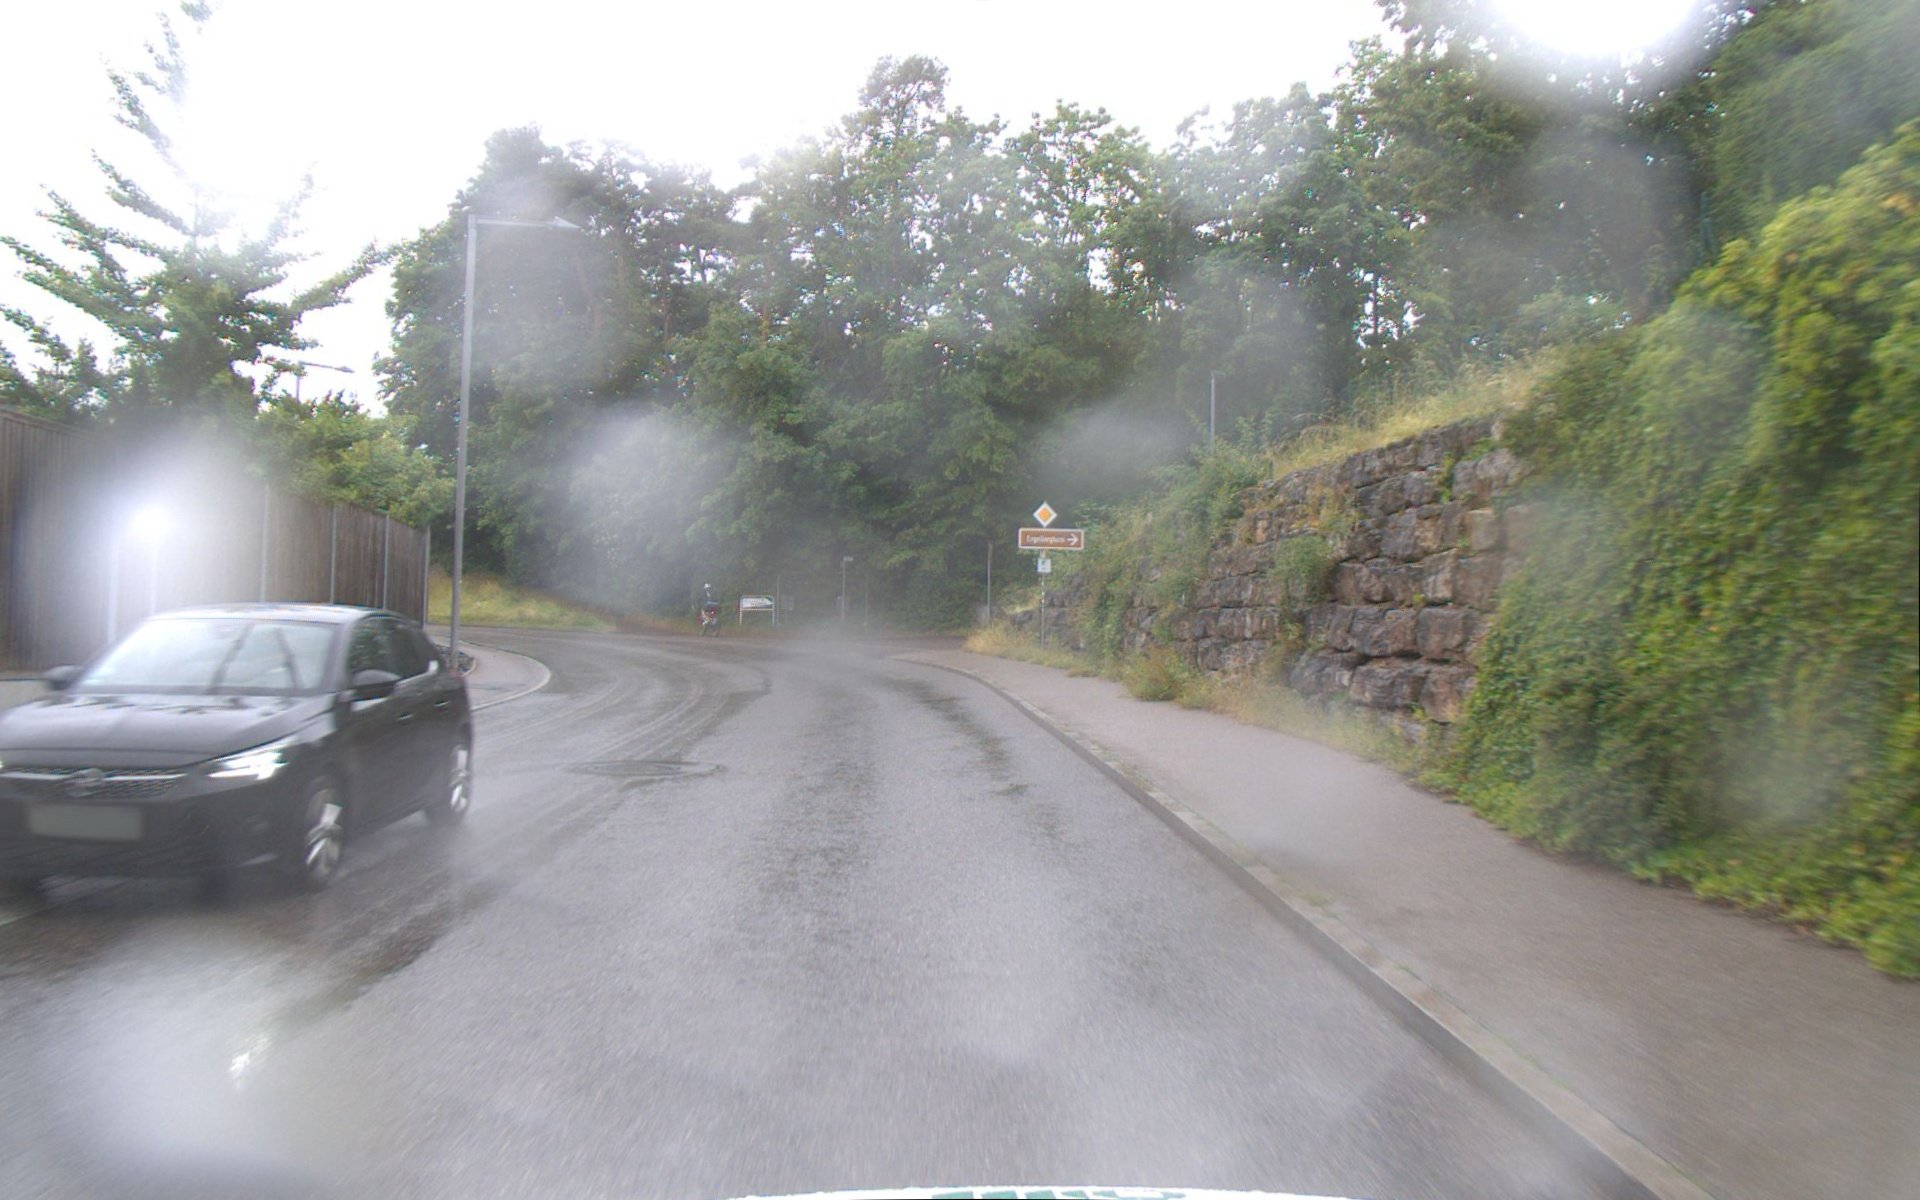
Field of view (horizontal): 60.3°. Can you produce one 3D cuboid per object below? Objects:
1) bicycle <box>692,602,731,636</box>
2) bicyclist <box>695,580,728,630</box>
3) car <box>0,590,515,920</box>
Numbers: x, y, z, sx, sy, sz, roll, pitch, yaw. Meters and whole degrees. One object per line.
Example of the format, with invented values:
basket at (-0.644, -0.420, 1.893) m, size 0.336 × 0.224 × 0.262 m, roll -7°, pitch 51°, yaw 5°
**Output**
bicycle at (-8.443, 0.651, 56.133) m, size 0.524 × 1.104 × 1.597 m, roll 2°, pitch 0°, yaw -40°
bicyclist at (-8.442, 0.168, 56.122) m, size 0.716 × 1.643 × 0.892 m, roll 2°, pitch 0°, yaw -40°
car at (-4.028, 0.706, 9.644) m, size 1.843 × 1.475 × 4.207 m, roll 1°, pitch 0°, yaw -2°
